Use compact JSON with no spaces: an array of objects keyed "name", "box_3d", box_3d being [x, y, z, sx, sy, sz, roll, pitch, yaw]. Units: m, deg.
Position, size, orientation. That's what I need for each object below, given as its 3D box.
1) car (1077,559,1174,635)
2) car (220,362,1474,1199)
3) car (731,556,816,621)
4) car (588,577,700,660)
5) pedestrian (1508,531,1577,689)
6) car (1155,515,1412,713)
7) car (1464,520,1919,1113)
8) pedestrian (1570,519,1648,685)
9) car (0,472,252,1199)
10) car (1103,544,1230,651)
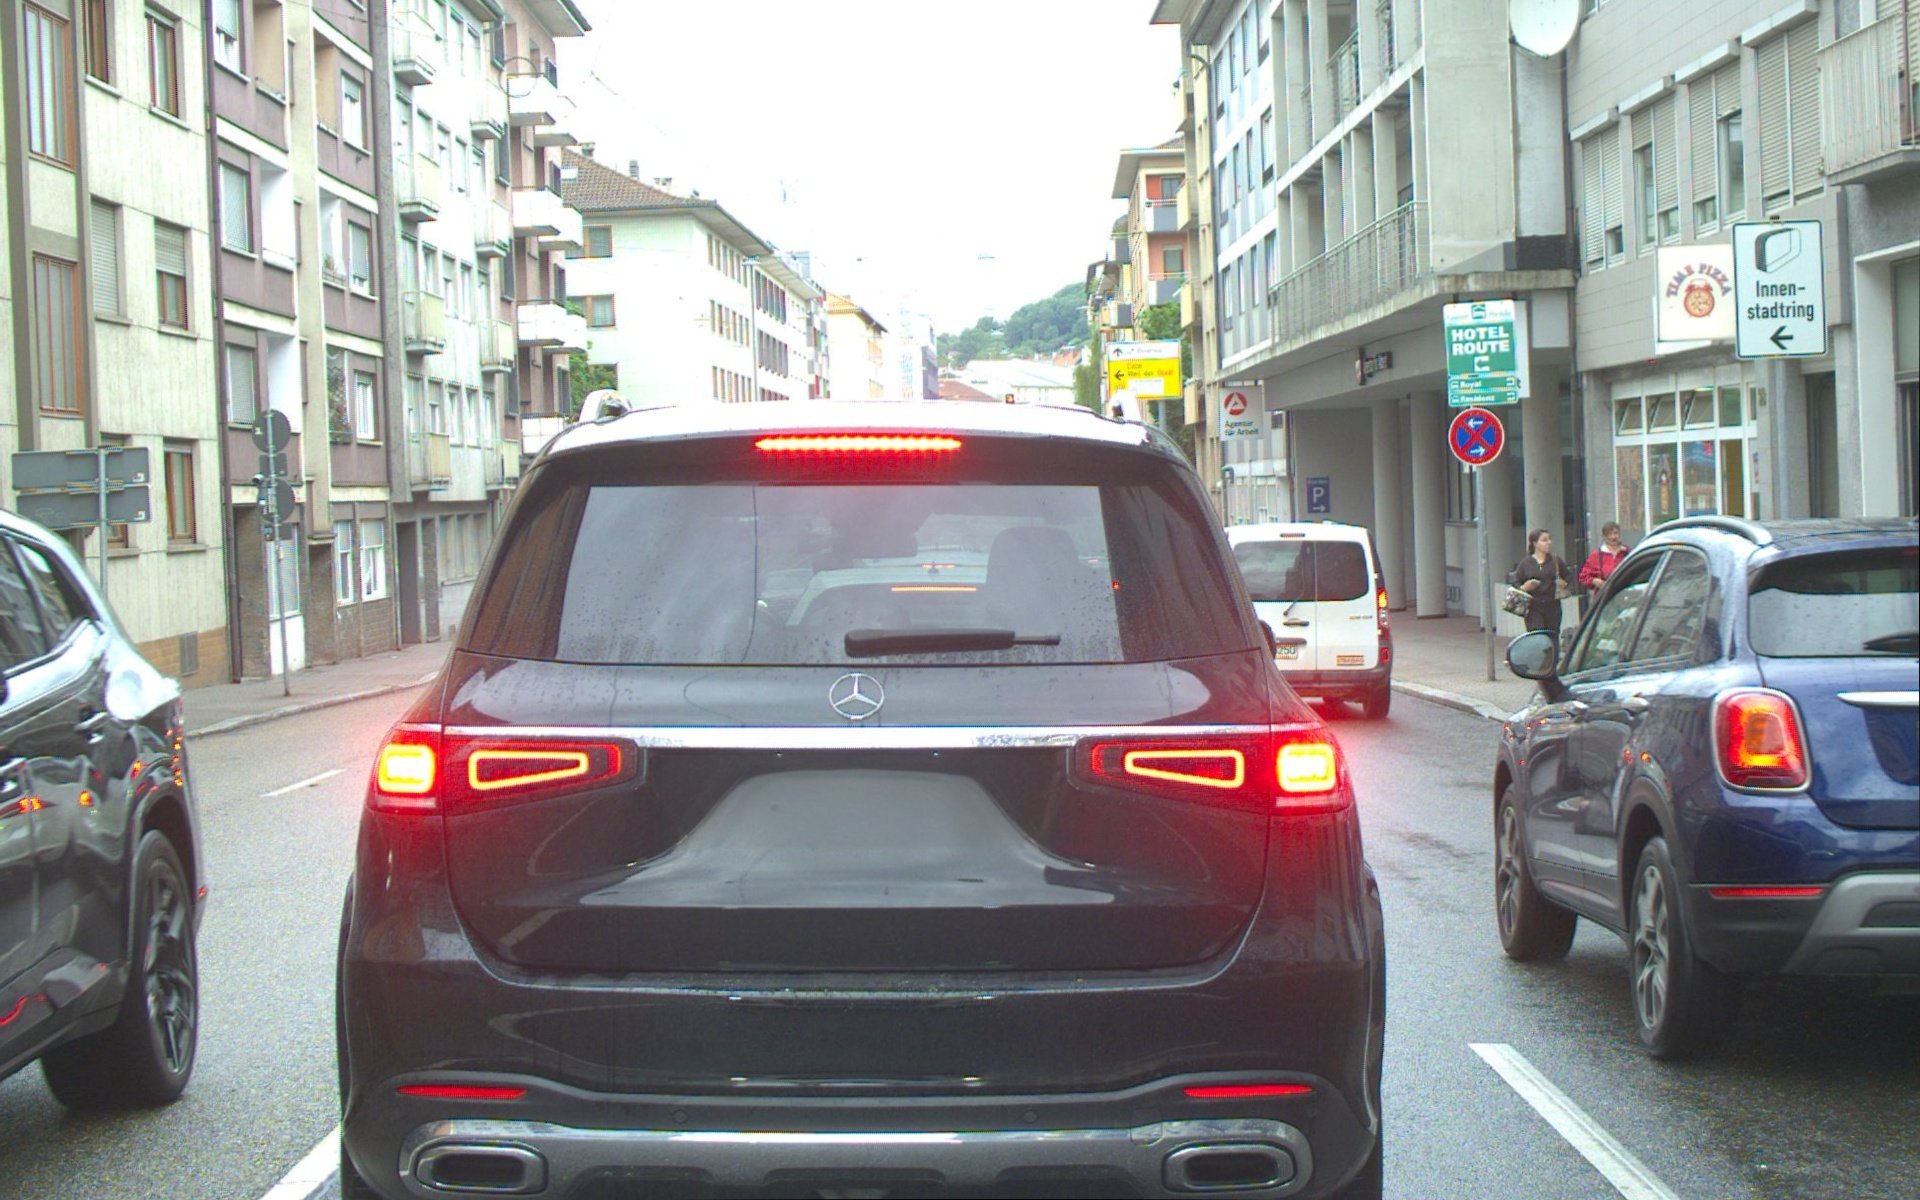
[{"name":"car","box_3d":[3.259,-0.088,68.320,1.621,1.425,4.312,1,1,-1]},{"name":"car","box_3d":[-0.226,0.496,7.615,2.025,1.799,4.000,1,1,-1]},{"name":"car","box_3d":[-4.337,-0.295,80.563,1.724,1.385,4.339,-3,1,-1]},{"name":"car","box_3d":[-5.939,0.327,64.894,1.767,1.341,3.889,-5,1,-2]},{"name":"pedestrian","box_3d":[5.674,0.089,33.514,0.506,1.495,0.562,-4,1,4]},{"name":"car","box_3d":[3.026,0.090,33.072,1.940,1.769,4.746,0,1,-1]},{"name":"car","box_3d":[2.839,0.539,11.162,1.767,1.575,4.000,-1,1,-1]},{"name":"pedestrian","box_3d":[6.322,0.012,33.517,0.560,1.573,0.526,-4,1,1]},{"name":"car","box_3d":[-3.174,0.631,7.816,2.126,1.715,4.818,-3,1,-1]},{"name":"car","box_3d":[3.190,-0.068,53.767,1.808,1.600,4.212,0,1,1]}]
